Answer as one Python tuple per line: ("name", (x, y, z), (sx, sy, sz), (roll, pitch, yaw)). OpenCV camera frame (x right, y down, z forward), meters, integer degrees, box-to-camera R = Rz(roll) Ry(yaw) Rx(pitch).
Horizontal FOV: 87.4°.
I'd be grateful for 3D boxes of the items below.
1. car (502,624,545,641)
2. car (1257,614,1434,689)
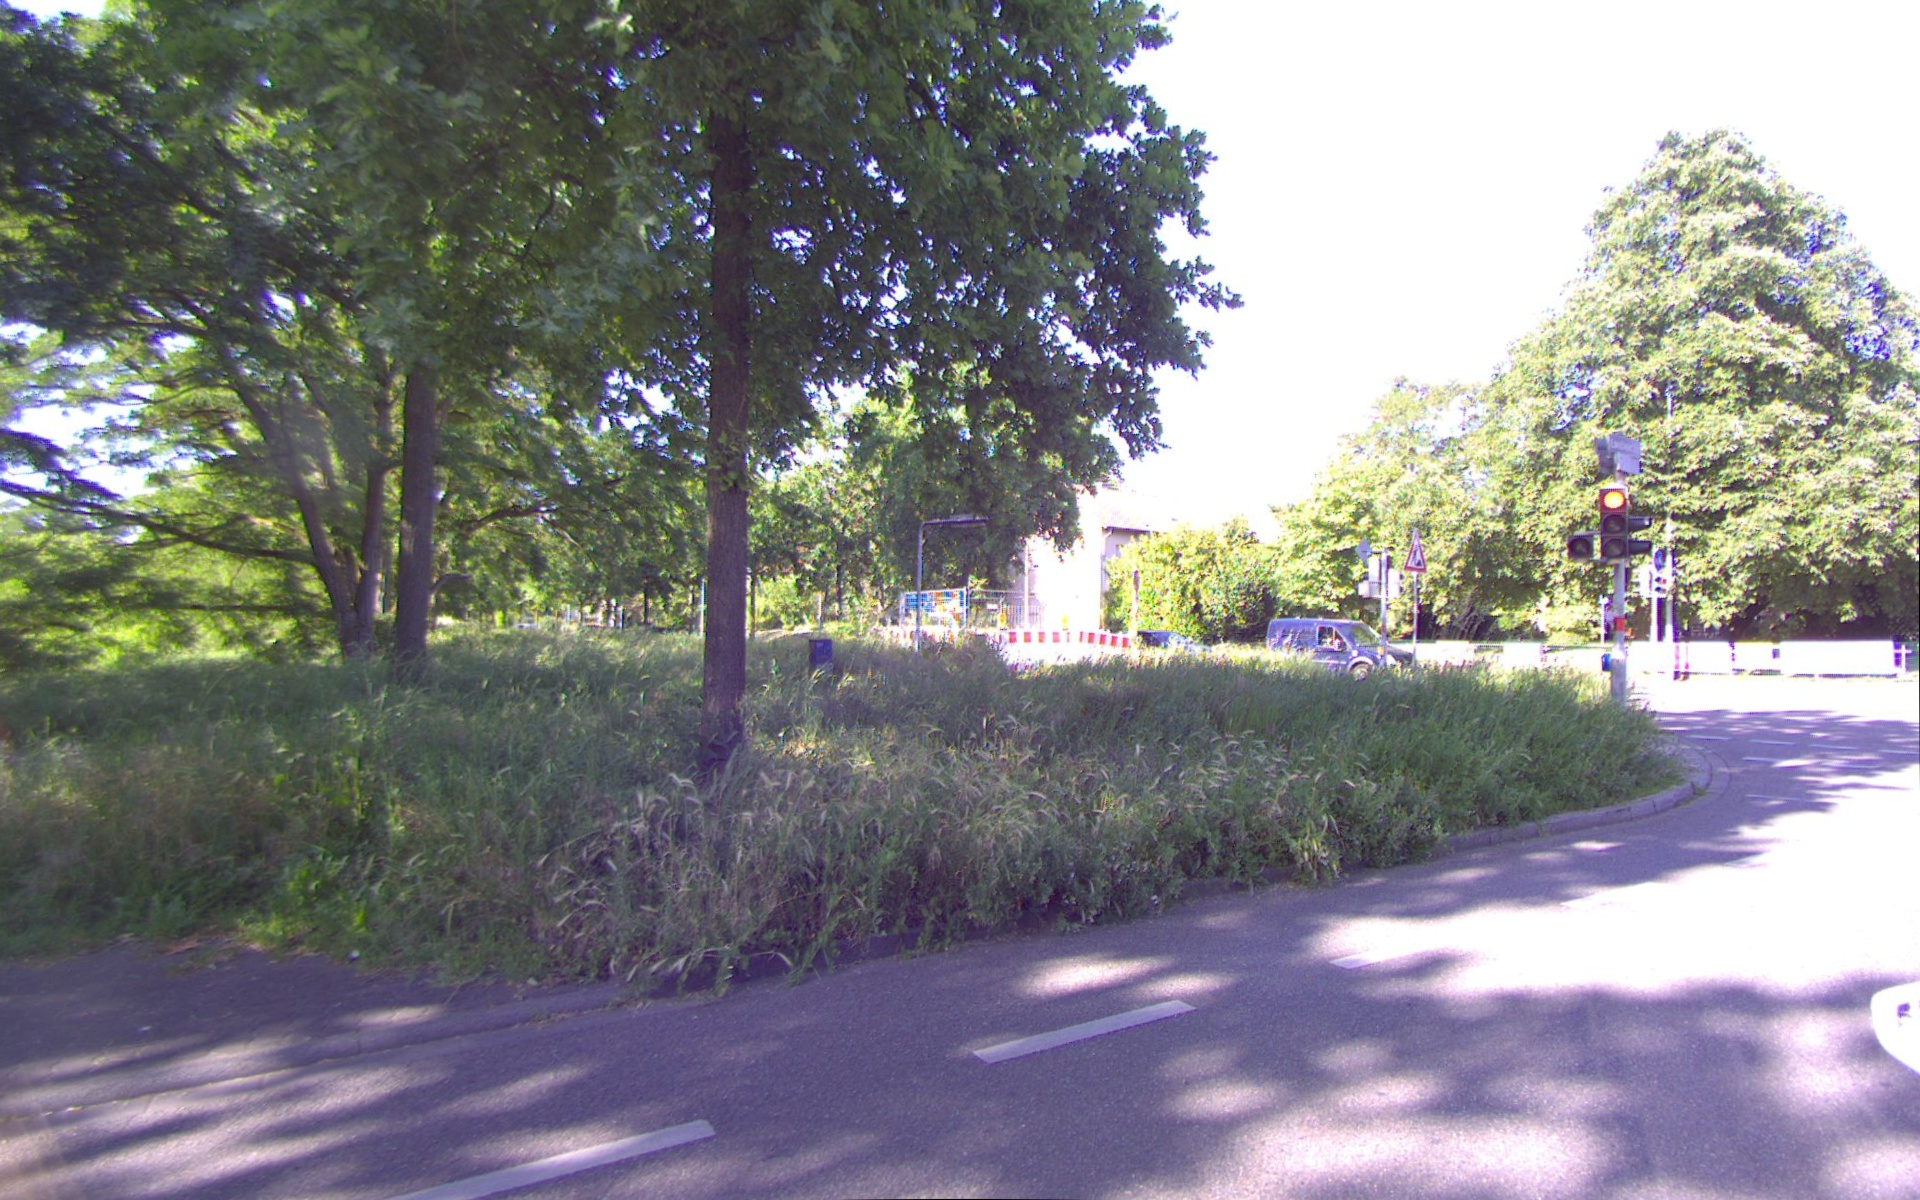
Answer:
("car", (-45.791, 3.417, 105.402), (3.939, 1.673, 1.991), (2, 0, -19))
("car", (10.528, 1.360, 27.715), (1.840, 1.912, 4.319), (1, -2, -33))
